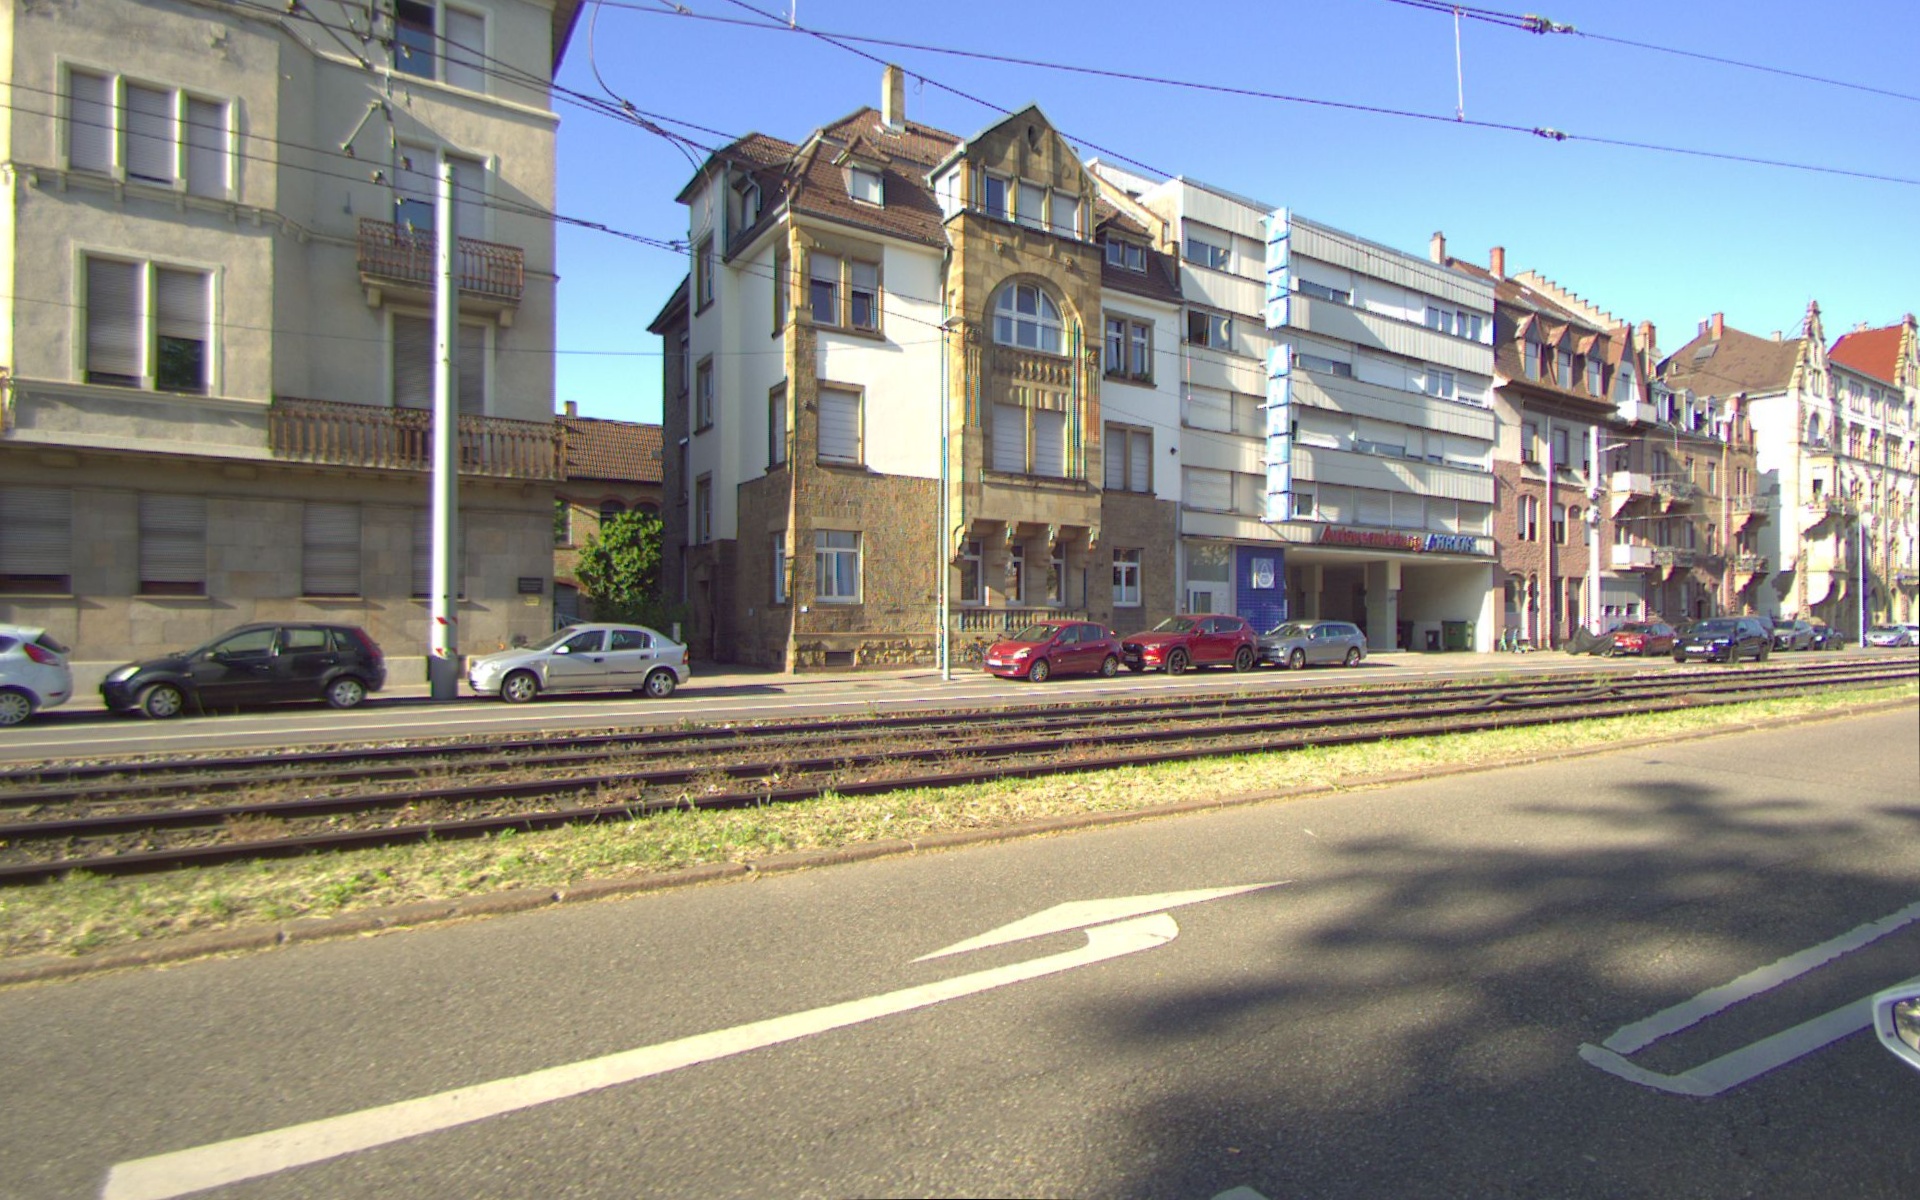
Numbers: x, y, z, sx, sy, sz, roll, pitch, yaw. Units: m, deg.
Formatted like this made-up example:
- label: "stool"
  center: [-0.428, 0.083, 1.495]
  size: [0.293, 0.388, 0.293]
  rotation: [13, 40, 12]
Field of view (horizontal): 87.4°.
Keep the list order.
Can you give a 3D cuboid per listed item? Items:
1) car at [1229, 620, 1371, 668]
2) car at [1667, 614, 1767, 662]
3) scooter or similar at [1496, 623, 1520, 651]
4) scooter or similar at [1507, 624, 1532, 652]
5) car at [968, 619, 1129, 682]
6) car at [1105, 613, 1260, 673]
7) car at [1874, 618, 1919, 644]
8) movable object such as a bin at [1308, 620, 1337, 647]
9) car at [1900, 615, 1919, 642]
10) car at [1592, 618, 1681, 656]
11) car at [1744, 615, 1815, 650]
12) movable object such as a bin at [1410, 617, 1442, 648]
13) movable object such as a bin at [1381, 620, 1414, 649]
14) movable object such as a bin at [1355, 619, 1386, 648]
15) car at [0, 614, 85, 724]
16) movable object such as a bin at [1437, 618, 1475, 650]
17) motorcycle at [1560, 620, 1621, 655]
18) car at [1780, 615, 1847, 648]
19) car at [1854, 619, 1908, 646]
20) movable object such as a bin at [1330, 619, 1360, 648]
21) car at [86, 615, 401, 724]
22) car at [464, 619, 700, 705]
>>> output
- label: "car"
  center: [10.802, 1.361, 31.816]
  size: [4.633, 1.409, 1.822]
  rotation: [1, -1, -34]
- label: "car"
  center: [26.979, 1.327, 35.756]
  size: [4.117, 1.622, 1.625]
  rotation: [1, -2, -35]
- label: "scooter or similar"
  center: [24.420, 1.645, 44.759]
  size: [1.187, 1.222, 0.389]
  rotation: [1, 1, -32]
- label: "scooter or similar"
  center: [24.656, 1.667, 44.243]
  size: [1.187, 1.222, 0.389]
  rotation: [1, 1, -32]
- label: "car"
  center: [2.350, 1.259, 26.182]
  size: [3.999, 1.410, 1.819]
  rotation: [1, 2, -38]
- label: "car"
  center: [6.428, 1.208, 28.878]
  size: [4.305, 1.579, 1.823]
  rotation: [1, 0, -32]
- label: "car"
  center: [61.657, 2.026, 65.717]
  size: [4.142, 1.530, 1.783]
  rotation: [1, 2, -34]
- label: "movable object such as a bin"
  center: [18.348, 1.695, 50.894]
  size: [0.628, 1.389, 1.260]
  rotation: [1, -1, -32]
- label: "car"
  center: [66.234, 1.975, 68.790]
  size: [4.142, 1.742, 1.783]
  rotation: [1, 2, -34]
- label: "car"
  center: [29.752, 1.593, 44.141]
  size: [4.222, 1.479, 1.783]
  rotation: [1, 2, -34]
- label: "car"
  center: [43.017, 1.700, 52.720]
  size: [4.154, 1.674, 1.676]
  rotation: [1, 2, -33]
- label: "movable object such as a bin"
  center: [21.463, 1.497, 46.270]
  size: [0.630, 1.389, 1.183]
  rotation: [1, -1, -39]
- label: "movable object such as a bin"
  center: [20.690, 1.622, 47.512]
  size: [0.629, 1.389, 1.258]
  rotation: [1, -1, -36]
- label: "movable object such as a bin"
  center: [19.842, 1.614, 48.553]
  size: [0.628, 1.389, 1.260]
  rotation: [1, -1, -32]
- label: "car"
  center: [-15.047, 0.983, 14.208]
  size: [3.950, 1.488, 1.622]
  rotation: [1, 2, -40]
- label: "movable object such as a bin"
  center: [22.303, 1.521, 45.140]
  size: [0.630, 1.389, 1.400]
  rotation: [1, -1, -39]
- label: "motorcycle"
  center: [26.714, 1.567, 42.573]
  size: [2.044, 1.345, 0.836]
  rotation: [3, 2, 42]
- label: "car"
  center: [47.393, 1.713, 55.748]
  size: [4.154, 1.674, 1.676]
  rotation: [1, 2, -33]
- label: "car"
  center: [57.295, 1.986, 62.460]
  size: [3.963, 1.530, 1.781]
  rotation: [1, 2, -38]
- label: "movable object such as a bin"
  center: [19.053, 1.661, 49.762]
  size: [0.628, 1.389, 1.260]
  rotation: [1, -1, -32]
- label: "car"
  center: [-11.809, 1.069, 16.820]
  size: [4.119, 1.489, 1.623]
  rotation: [1, 4, -36]
- label: "car"
  center: [-7.387, 1.138, 19.742]
  size: [4.113, 1.488, 1.626]
  rotation: [0, 0, -33]
